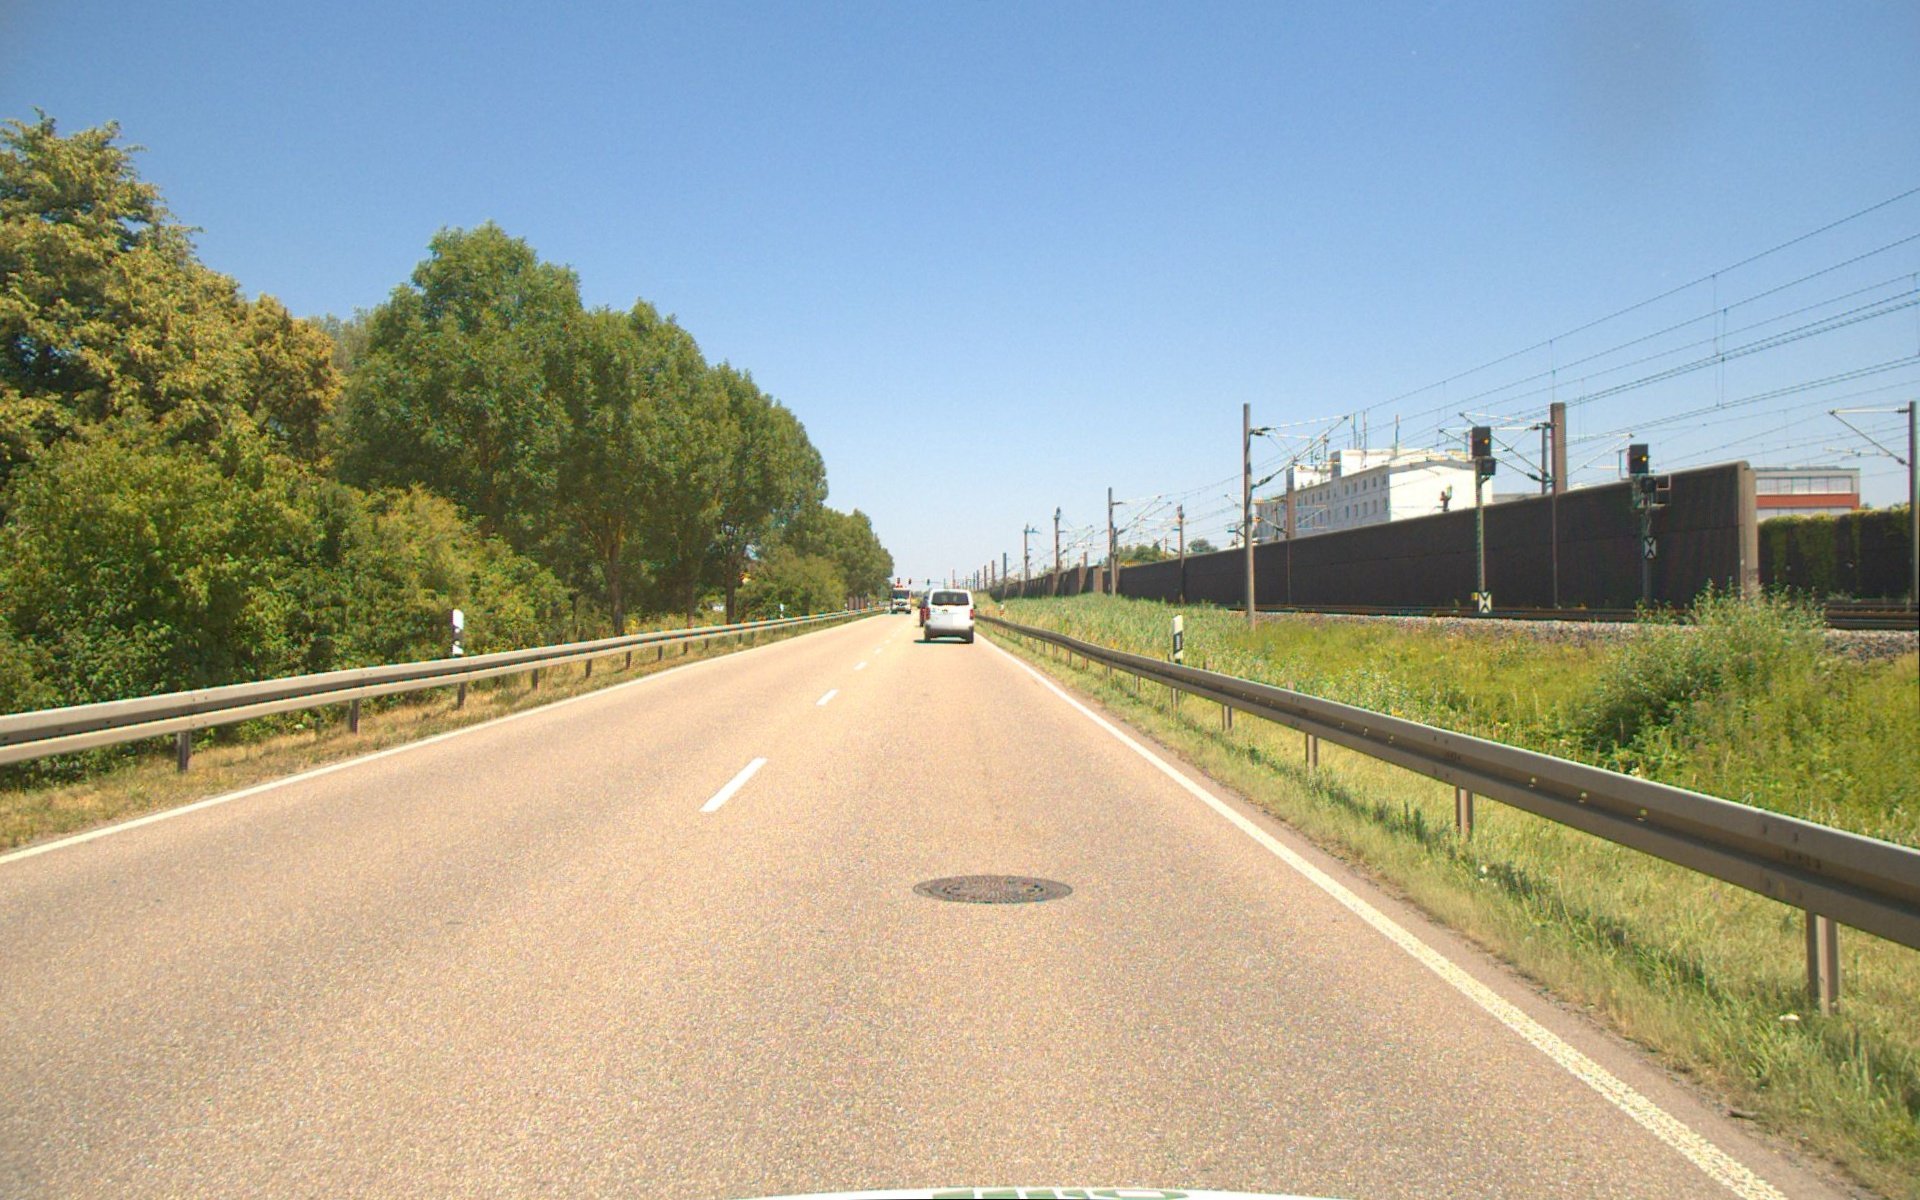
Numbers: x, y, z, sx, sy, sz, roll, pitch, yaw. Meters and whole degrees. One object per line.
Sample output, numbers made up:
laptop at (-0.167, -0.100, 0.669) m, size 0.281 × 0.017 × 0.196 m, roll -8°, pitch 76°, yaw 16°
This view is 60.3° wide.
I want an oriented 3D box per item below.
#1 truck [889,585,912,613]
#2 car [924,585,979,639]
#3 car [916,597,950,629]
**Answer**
truck at (-7.446, -0.126, 207.223) m, size 2.727 × 3.464 × 7.986 m, roll 1°, pitch 0°, yaw -1°
car at (-0.354, 0.428, 61.533) m, size 1.953 × 1.882 × 3.999 m, roll 1°, pitch 0°, yaw -1°
car at (-1.622, 0.767, 99.706) m, size 1.953 × 1.882 × 3.999 m, roll 1°, pitch 0°, yaw -1°
